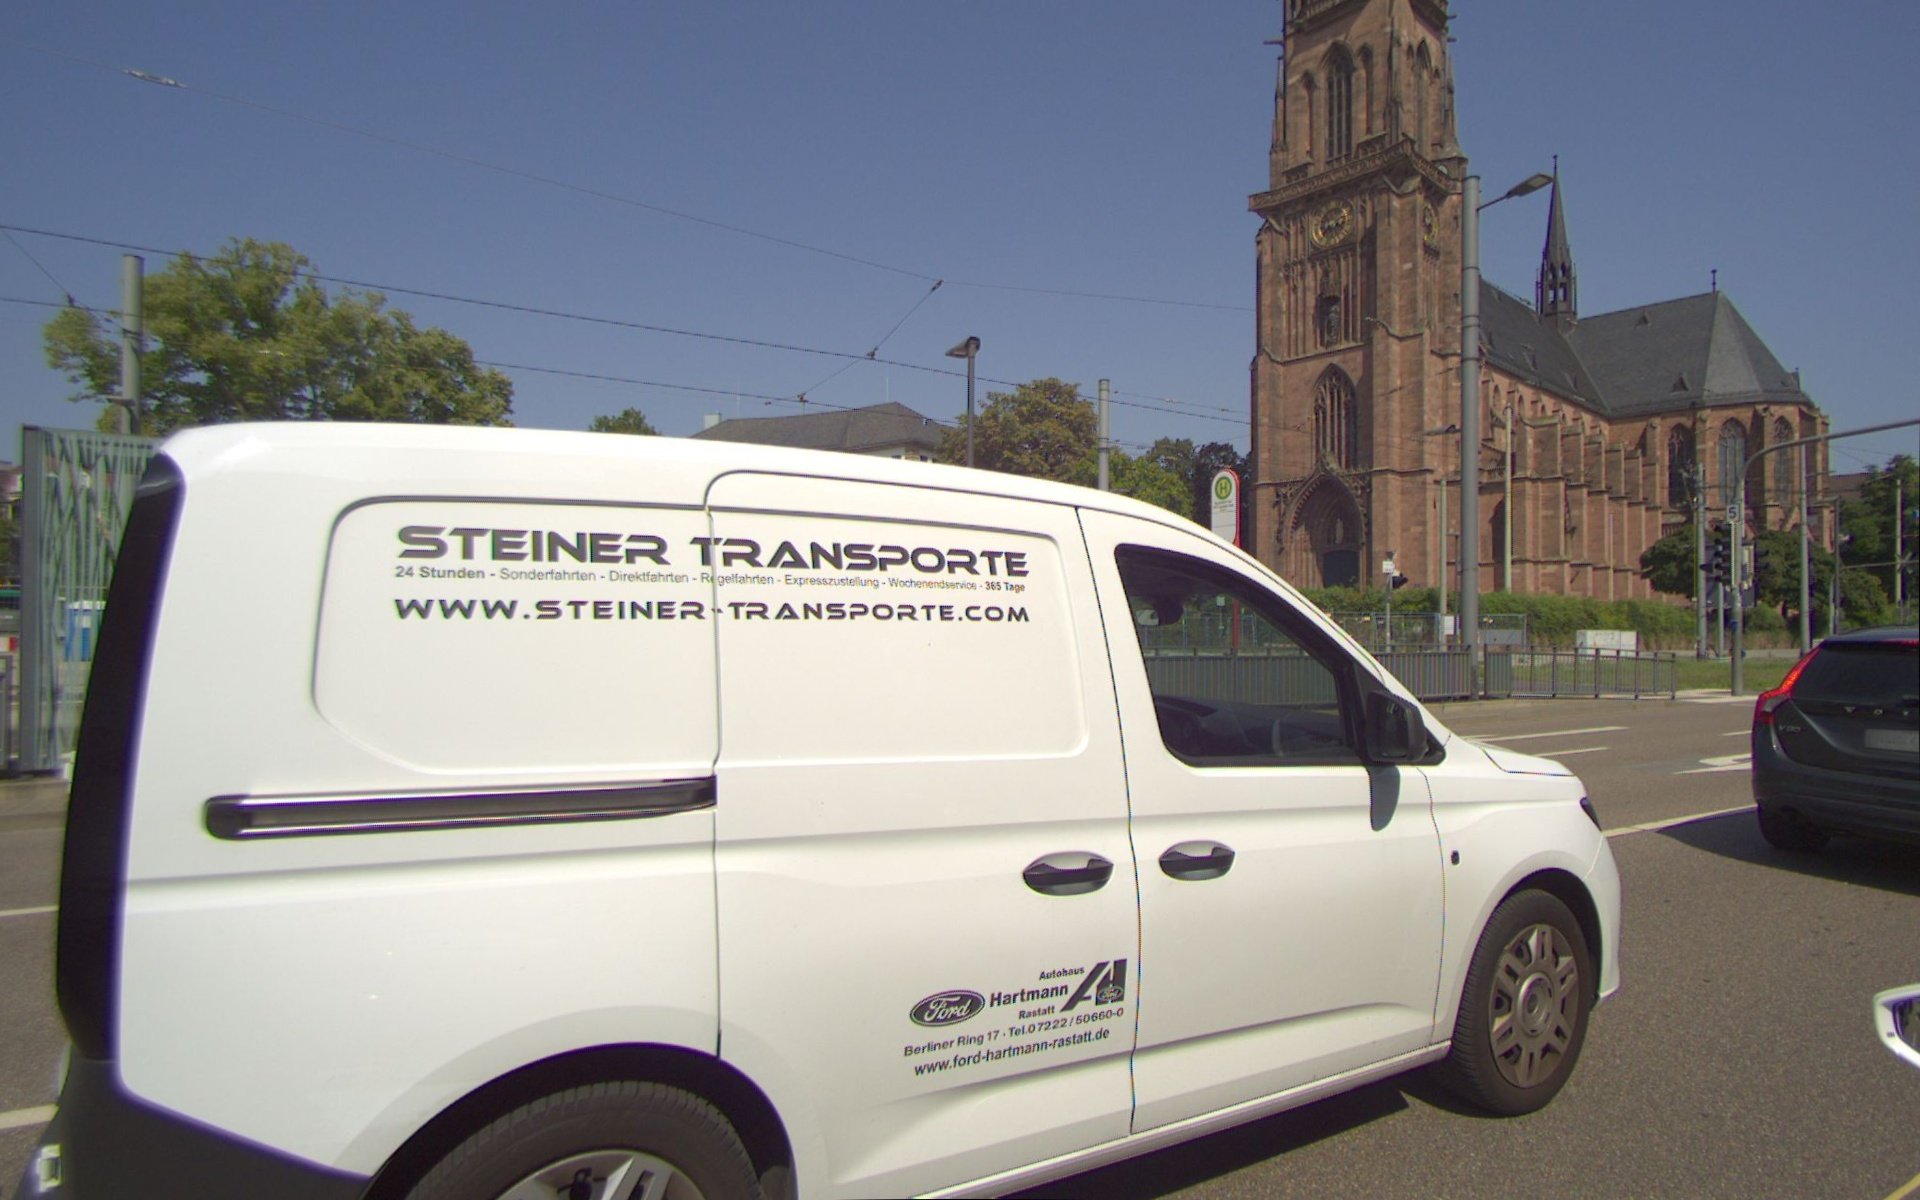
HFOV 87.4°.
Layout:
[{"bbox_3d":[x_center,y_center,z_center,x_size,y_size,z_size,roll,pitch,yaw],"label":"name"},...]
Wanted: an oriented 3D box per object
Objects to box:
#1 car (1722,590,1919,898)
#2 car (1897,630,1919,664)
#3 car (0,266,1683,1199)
[{"bbox_3d":[6.913,0.798,6.448,4.258,1.636,1.739,1,0,-30],"label":"car"},{"bbox_3d":[42.921,2.057,44.618,1.727,1.454,4.549,-3,-3,42],"label":"car"},{"bbox_3d":[0.130,0.554,2.993,4.189,1.844,1.739,1,-1,-30],"label":"car"}]
